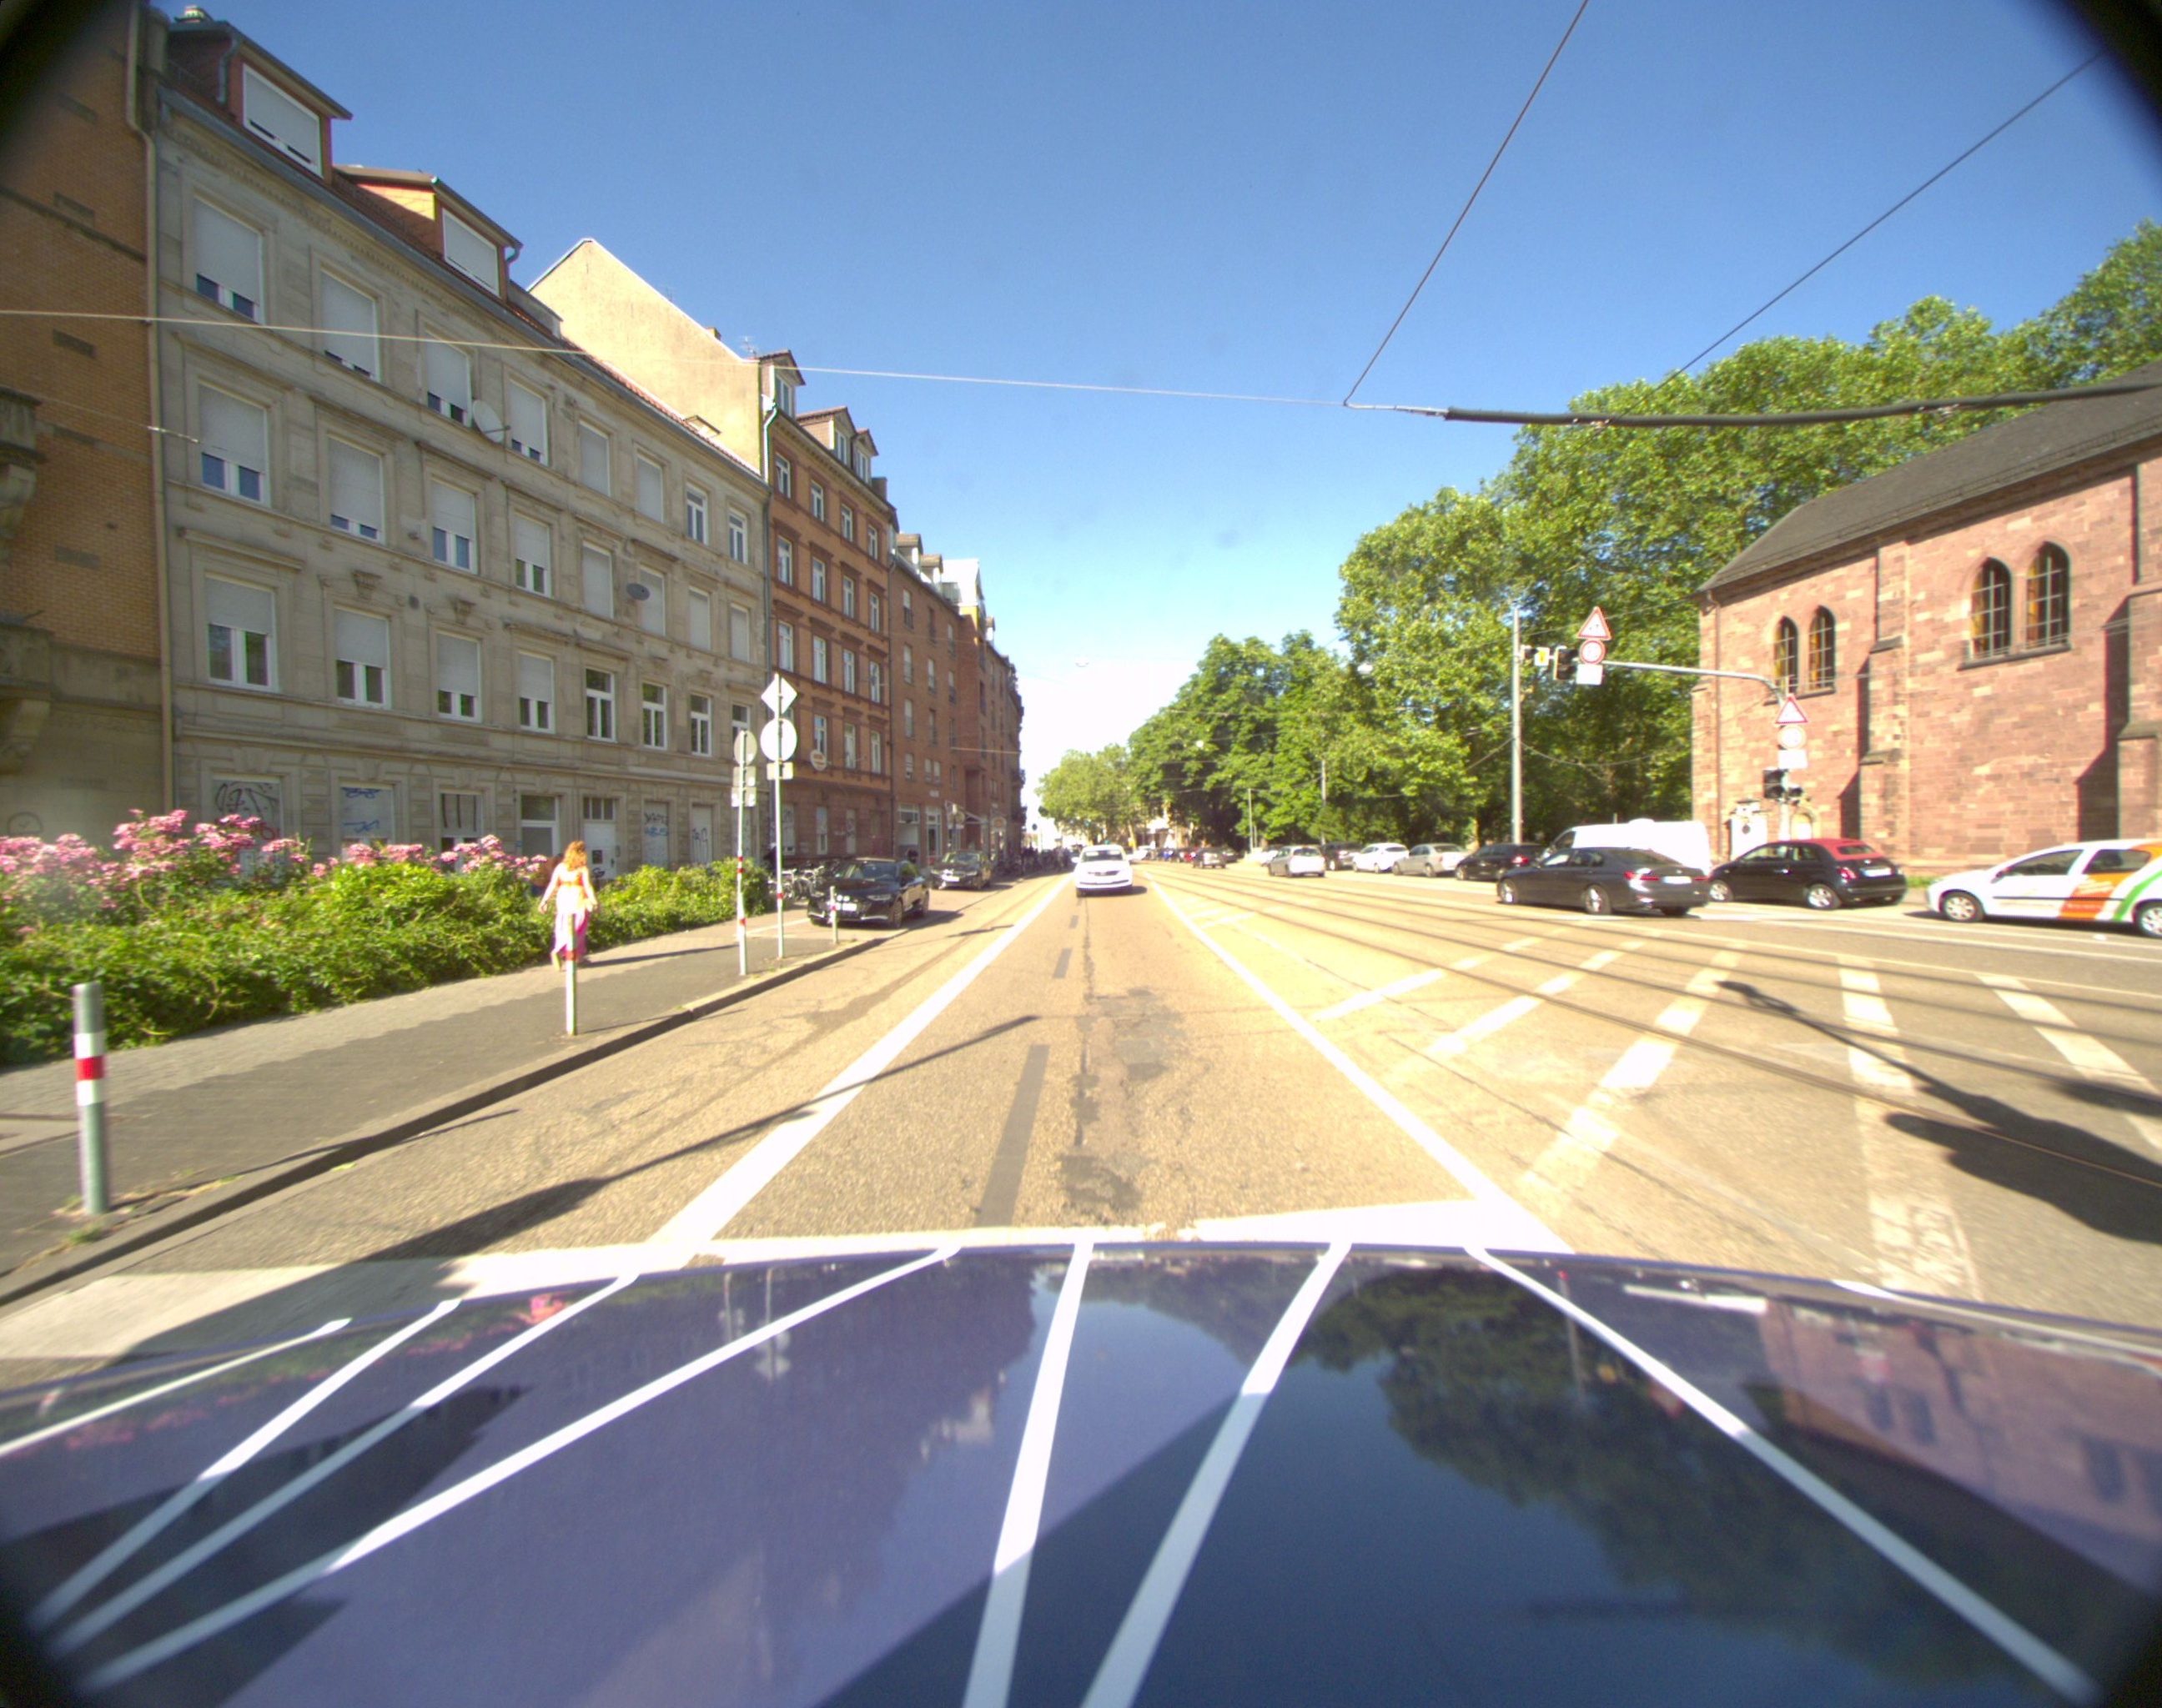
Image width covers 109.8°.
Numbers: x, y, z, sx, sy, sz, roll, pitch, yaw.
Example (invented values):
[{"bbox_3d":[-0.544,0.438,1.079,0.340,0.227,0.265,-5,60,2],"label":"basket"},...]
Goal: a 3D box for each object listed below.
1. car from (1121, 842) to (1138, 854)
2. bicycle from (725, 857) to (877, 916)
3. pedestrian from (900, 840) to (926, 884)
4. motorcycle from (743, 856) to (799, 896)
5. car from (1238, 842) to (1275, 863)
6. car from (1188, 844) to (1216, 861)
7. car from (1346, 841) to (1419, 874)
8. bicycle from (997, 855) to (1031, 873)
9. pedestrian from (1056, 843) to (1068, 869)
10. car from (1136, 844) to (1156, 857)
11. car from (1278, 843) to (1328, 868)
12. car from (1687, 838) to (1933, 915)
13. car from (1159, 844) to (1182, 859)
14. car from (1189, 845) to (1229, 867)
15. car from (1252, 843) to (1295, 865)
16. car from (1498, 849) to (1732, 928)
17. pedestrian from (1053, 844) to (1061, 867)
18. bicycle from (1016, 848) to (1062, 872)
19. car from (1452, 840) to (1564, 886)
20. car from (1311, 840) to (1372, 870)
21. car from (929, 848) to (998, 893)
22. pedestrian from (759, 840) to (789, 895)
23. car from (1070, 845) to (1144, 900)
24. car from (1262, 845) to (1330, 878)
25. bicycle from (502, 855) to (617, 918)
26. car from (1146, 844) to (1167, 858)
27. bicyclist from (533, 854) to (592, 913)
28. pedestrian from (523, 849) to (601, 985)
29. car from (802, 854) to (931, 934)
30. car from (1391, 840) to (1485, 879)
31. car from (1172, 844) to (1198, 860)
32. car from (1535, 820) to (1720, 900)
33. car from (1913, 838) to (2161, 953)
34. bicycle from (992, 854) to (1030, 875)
[{"bbox_3d":[6.437,-0.777,102.116,1.795,1.543,4.305,-1,1,-2],"label":"car"},{"bbox_3d":[-8.266,0.871,23.376,1.969,1.408,6.826,-1,1,1],"label":"bicycle"},{"bbox_3d":[-7.864,0.344,35.702,0.844,2.002,1.369,-1,1,1],"label":"pedestrian"},{"bbox_3d":[-10.636,0.729,26.118,1.632,1.308,0.716,-1,1,-12],"label":"motorcycle"},{"bbox_3d":[13.787,-0.155,59.928,1.795,1.543,4.305,-1,1,-2],"label":"car"},{"bbox_3d":[11.378,-0.143,71.524,1.795,1.543,4.305,-1,1,-2],"label":"car"},{"bbox_3d":[15.097,0.132,38.270,1.795,1.543,4.305,-1,1,-2],"label":"car"},{"bbox_3d":[-3.824,0.568,43.508,1.801,1.053,0.655,0,1,10],"label":"bicycle"},{"bbox_3d":[-1.316,0.111,52.063,0.735,1.784,0.884,-1,1,1],"label":"pedestrian"},{"bbox_3d":[7.782,-0.475,91.418,1.795,1.543,4.305,-1,1,-2],"label":"car"},{"bbox_3d":[14.281,0.060,49.099,1.795,1.543,4.305,-1,1,-2],"label":"car"},{"bbox_3d":[16.354,0.430,17.363,1.795,1.543,3.858,-1,1,-3],"label":"car"},{"bbox_3d":[9.659,-0.312,82.374,1.795,1.543,4.305,-1,1,-2],"label":"car"},{"bbox_3d":[8.792,0.114,52.438,1.798,1.421,4.374,-1,1,-3],"label":"car"},{"bbox_3d":[13.829,-0.027,54.850,1.795,1.543,4.305,-1,1,-2],"label":"car"},{"bbox_3d":[11.086,0.620,16.248,1.798,1.421,4.374,-1,1,-3],"label":"car"},{"bbox_3d":[-1.845,0.108,59.056,0.613,1.764,0.722,-1,1,-1],"label":"pedestrian"},{"bbox_3d":[-2.703,0.343,51.220,1.805,1.429,8.780,-1,1,5],"label":"bicycle"},{"bbox_3d":[15.581,0.277,27.946,1.795,1.543,3.858,-1,1,-3],"label":"car"},{"bbox_3d":[14.695,0.021,43.081,1.795,1.543,4.305,-1,1,-2],"label":"car"},{"bbox_3d":[-4.572,0.587,30.199,1.764,1.517,4.473,3,1,2],"label":"car"},{"bbox_3d":[-10.555,0.444,26.131,0.822,1.851,0.703,-1,1,-12],"label":"pedestrian"},{"bbox_3d":[0.988,0.552,25.760,1.800,1.627,4.397,-1,1,11],"label":"car"},{"bbox_3d":[10.014,0.322,35.693,1.798,1.421,4.374,-1,1,-3],"label":"car"},{"bbox_3d":[-11.617,0.685,17.049,0.956,1.278,2.237,-1,1,1],"label":"bicycle"},{"bbox_3d":[8.591,-0.386,87.066,1.795,1.543,4.305,-1,1,-2],"label":"car"},{"bbox_3d":[-11.672,0.645,17.119,0.693,1.278,0.862,-1,1,0],"label":"bicyclist"},{"bbox_3d":[-6.631,0.775,9.743,0.551,1.667,0.687,-1,1,-12],"label":"pedestrian"},{"bbox_3d":[-4.578,0.785,16.789,1.683,1.475,3.999,-1,1,0],"label":"car"},{"bbox_3d":[15.325,0.204,32.881,1.796,1.543,4.304,-1,1,-4],"label":"car"},{"bbox_3d":[10.371,-0.208,75.954,1.795,1.543,4.305,-1,1,-2],"label":"car"},{"bbox_3d":[15.825,0.119,22.366,1.921,2.085,4.590,-1,1,-4],"label":"car"},{"bbox_3d":[16.536,0.583,12.381,1.780,1.565,3.675,-4,1,-3],"label":"car"},{"bbox_3d":[-3.827,0.550,41.821,1.917,1.131,0.845,0,1,12],"label":"bicycle"}]
